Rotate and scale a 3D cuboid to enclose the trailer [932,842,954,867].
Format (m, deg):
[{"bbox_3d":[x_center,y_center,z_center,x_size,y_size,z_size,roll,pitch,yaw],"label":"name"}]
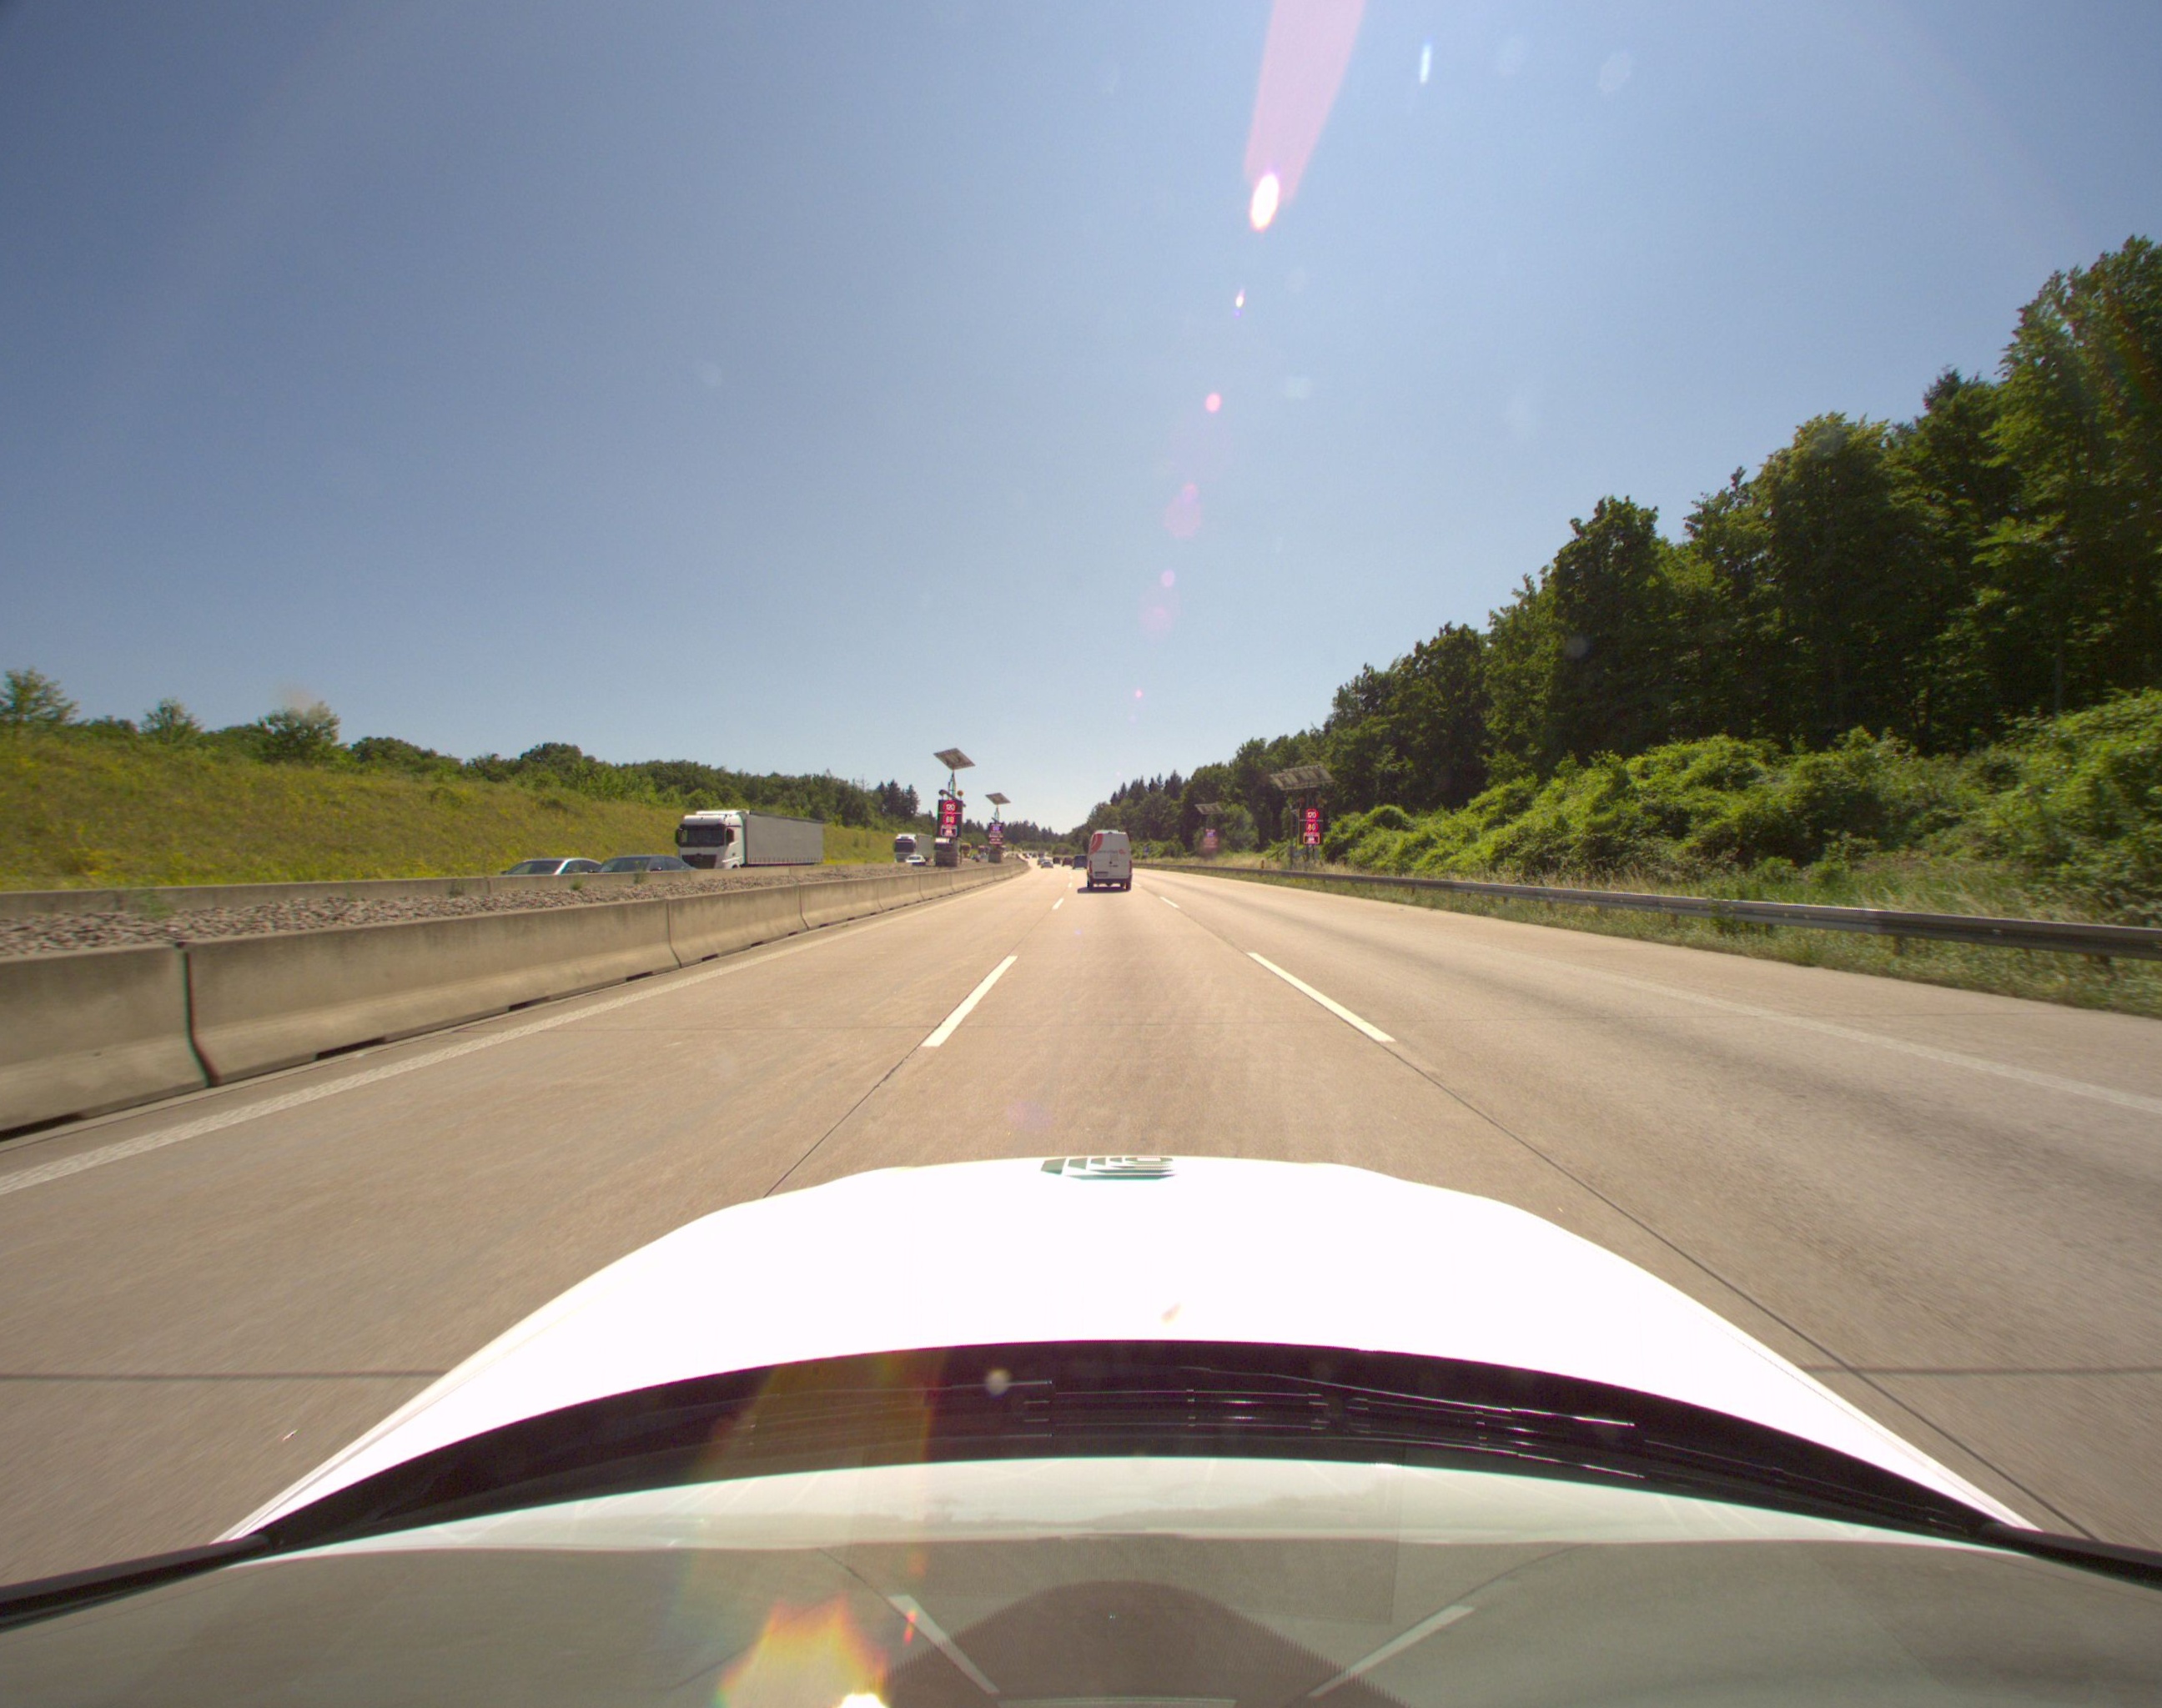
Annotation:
[{"bbox_3d":[-23.783,0.167,140.973,2.927,4.169,6.882,2,-1,-4],"label":"trailer"}]

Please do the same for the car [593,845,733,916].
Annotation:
[{"bbox_3d":[-12.268,0.738,24.237,1.986,1.904,4.039,-1,0,1],"label":"car"}]

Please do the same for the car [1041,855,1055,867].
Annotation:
[{"bbox_3d":[-4.932,1.101,121.472,1.988,1.684,3.998,2,0,-1],"label":"car"}]

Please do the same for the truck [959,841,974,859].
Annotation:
[{"bbox_3d":[-29.234,-0.930,208.186,2.908,4.513,11.243,0,0,-4],"label":"truck"}]

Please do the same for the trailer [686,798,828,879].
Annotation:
[{"bbox_3d":[-19.290,-0.760,50.063,2.924,4.169,14.382,2,0,-1],"label":"trailer"}]

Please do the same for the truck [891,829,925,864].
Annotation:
[{"bbox_3d":[-21.403,-0.896,100.908,2.926,4.169,6.224,2,-1,-2],"label":"truck"}]

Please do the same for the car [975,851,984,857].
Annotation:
[{"bbox_3d":[-30.972,-0.018,247.397,2.278,2.013,4.799,-1,0,-2],"label":"car"}]

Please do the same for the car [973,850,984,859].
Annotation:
[{"bbox_3d":[-22.192,0.099,176.438,1.989,2.013,3.996,-1,0,-2],"label":"car"}]

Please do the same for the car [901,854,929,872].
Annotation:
[{"bbox_3d":[-16.599,0.893,81.624,1.987,1.684,3.999,-1,0,0],"label":"car"}]

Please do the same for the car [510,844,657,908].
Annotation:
[{"bbox_3d":[-15.129,0.629,25.047,1.986,1.772,4.001,-1,0,1],"label":"car"}]

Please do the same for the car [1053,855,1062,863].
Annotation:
[{"bbox_3d":[-5.177,1.198,178.836,1.988,1.684,3.998,2,0,-1],"label":"car"}]

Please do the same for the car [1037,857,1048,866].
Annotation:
[{"bbox_3d":[-7.543,1.425,160.151,1.988,1.684,3.998,2,0,-1],"label":"car"}]

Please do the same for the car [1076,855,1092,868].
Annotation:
[{"bbox_3d":[0.318,0.955,107.634,1.988,1.684,3.998,2,0,-1],"label":"car"}]

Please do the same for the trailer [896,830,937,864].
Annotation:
[{"bbox_3d":[-21.647,-0.843,108.212,2.926,4.169,14.376,2,0,-2],"label":"trailer"}]

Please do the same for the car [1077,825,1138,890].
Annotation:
[{"bbox_3d":[1.149,0.132,38.528,2.223,2.844,5.444,0,0,-5],"label":"car"}]

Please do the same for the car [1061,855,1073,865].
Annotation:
[{"bbox_3d":[-2.401,1.000,142.014,1.988,1.684,3.998,2,0,-1],"label":"car"}]

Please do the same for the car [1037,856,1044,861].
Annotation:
[{"bbox_3d":[-12.767,1.420,258.764,1.988,1.684,3.998,2,0,-1],"label":"car"}]

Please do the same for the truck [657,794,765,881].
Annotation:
[{"bbox_3d":[-19.211,-0.810,42.710,2.925,4.169,5.758,2,-1,-1],"label":"truck"}]
